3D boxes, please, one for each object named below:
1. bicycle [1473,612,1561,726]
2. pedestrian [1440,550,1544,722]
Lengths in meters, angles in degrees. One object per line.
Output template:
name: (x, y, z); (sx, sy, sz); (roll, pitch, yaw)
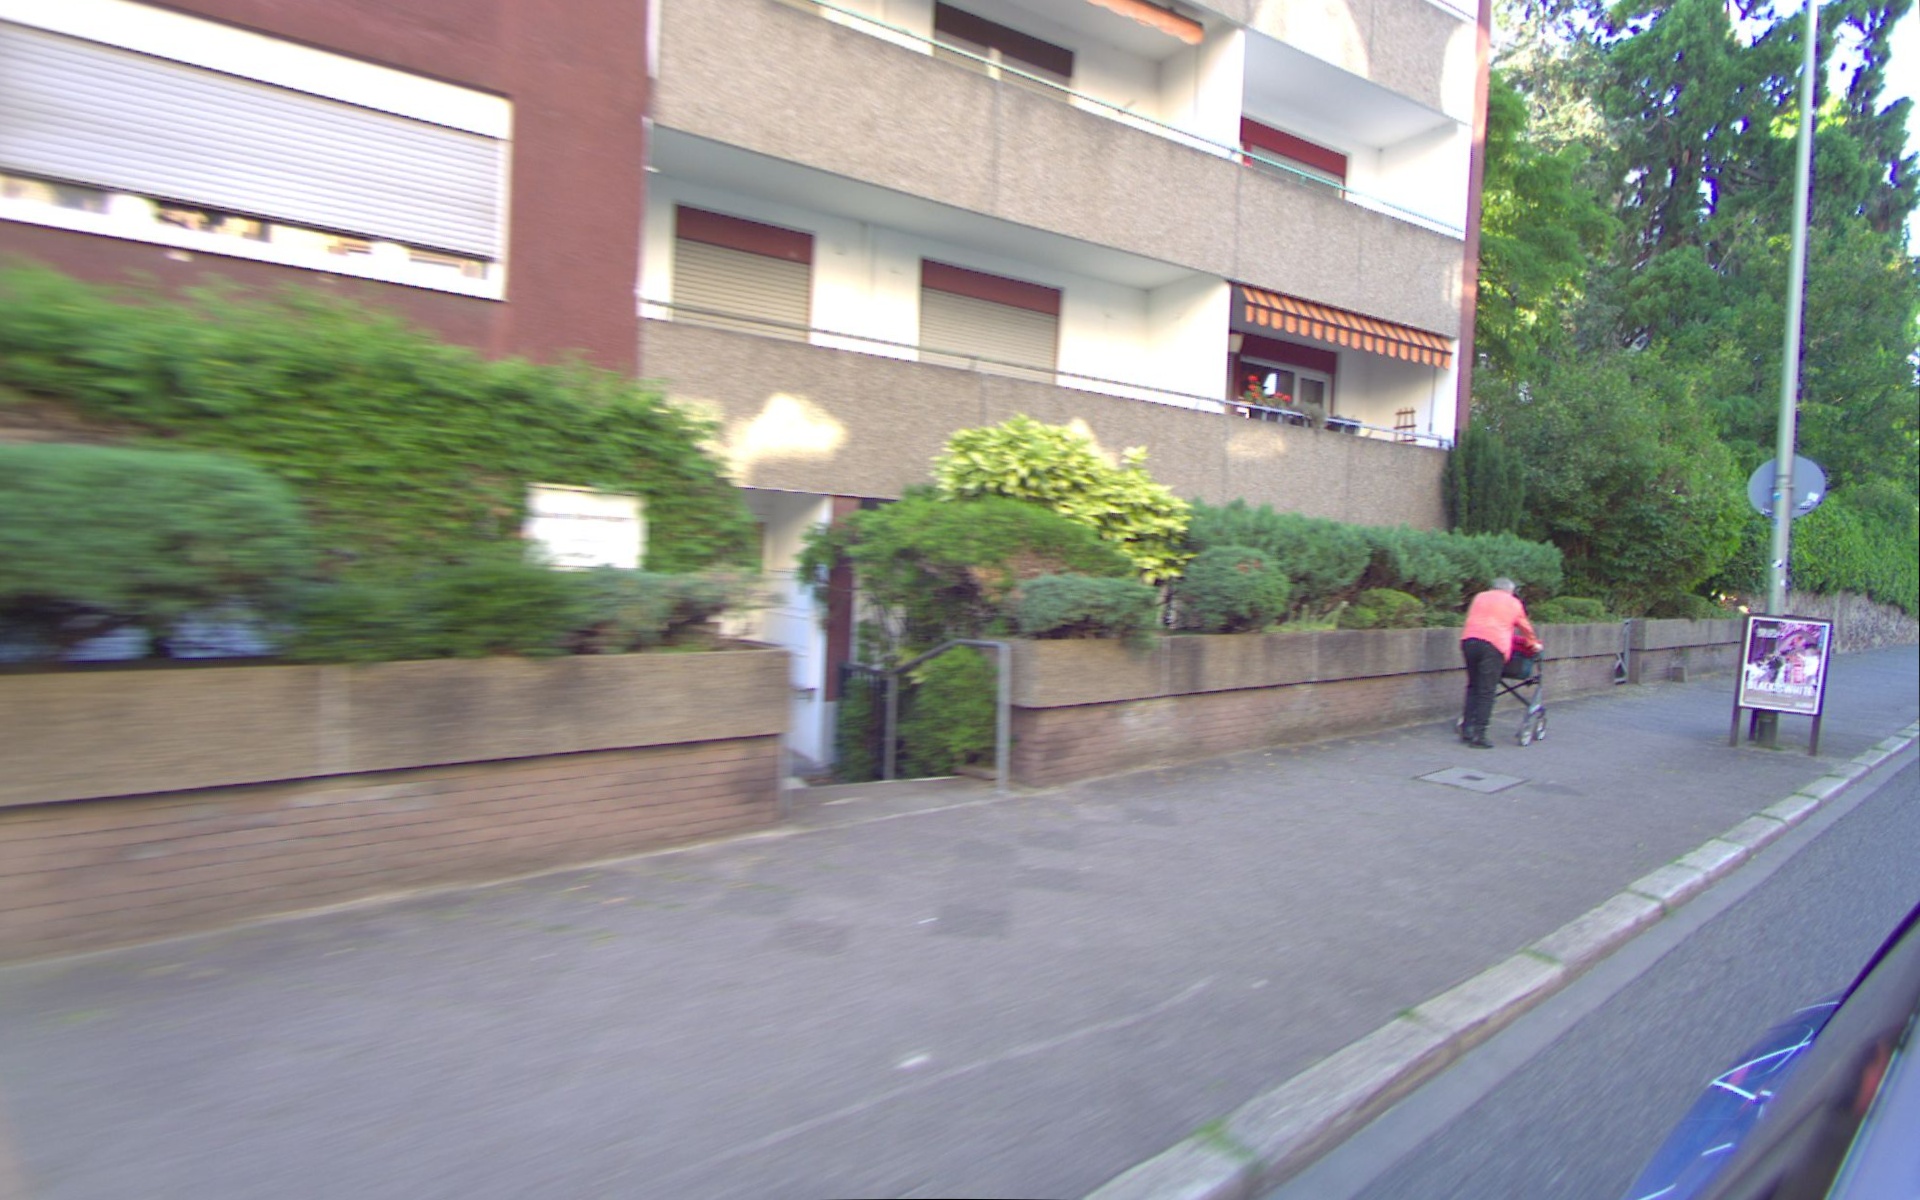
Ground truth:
bicycle: (5.100, 0.611, 9.273); (0.484, 0.982, 0.567); (2, 0, -43)
pedestrian: (4.644, 0.296, 8.835); (0.656, 1.421, 0.598); (2, 0, -42)
